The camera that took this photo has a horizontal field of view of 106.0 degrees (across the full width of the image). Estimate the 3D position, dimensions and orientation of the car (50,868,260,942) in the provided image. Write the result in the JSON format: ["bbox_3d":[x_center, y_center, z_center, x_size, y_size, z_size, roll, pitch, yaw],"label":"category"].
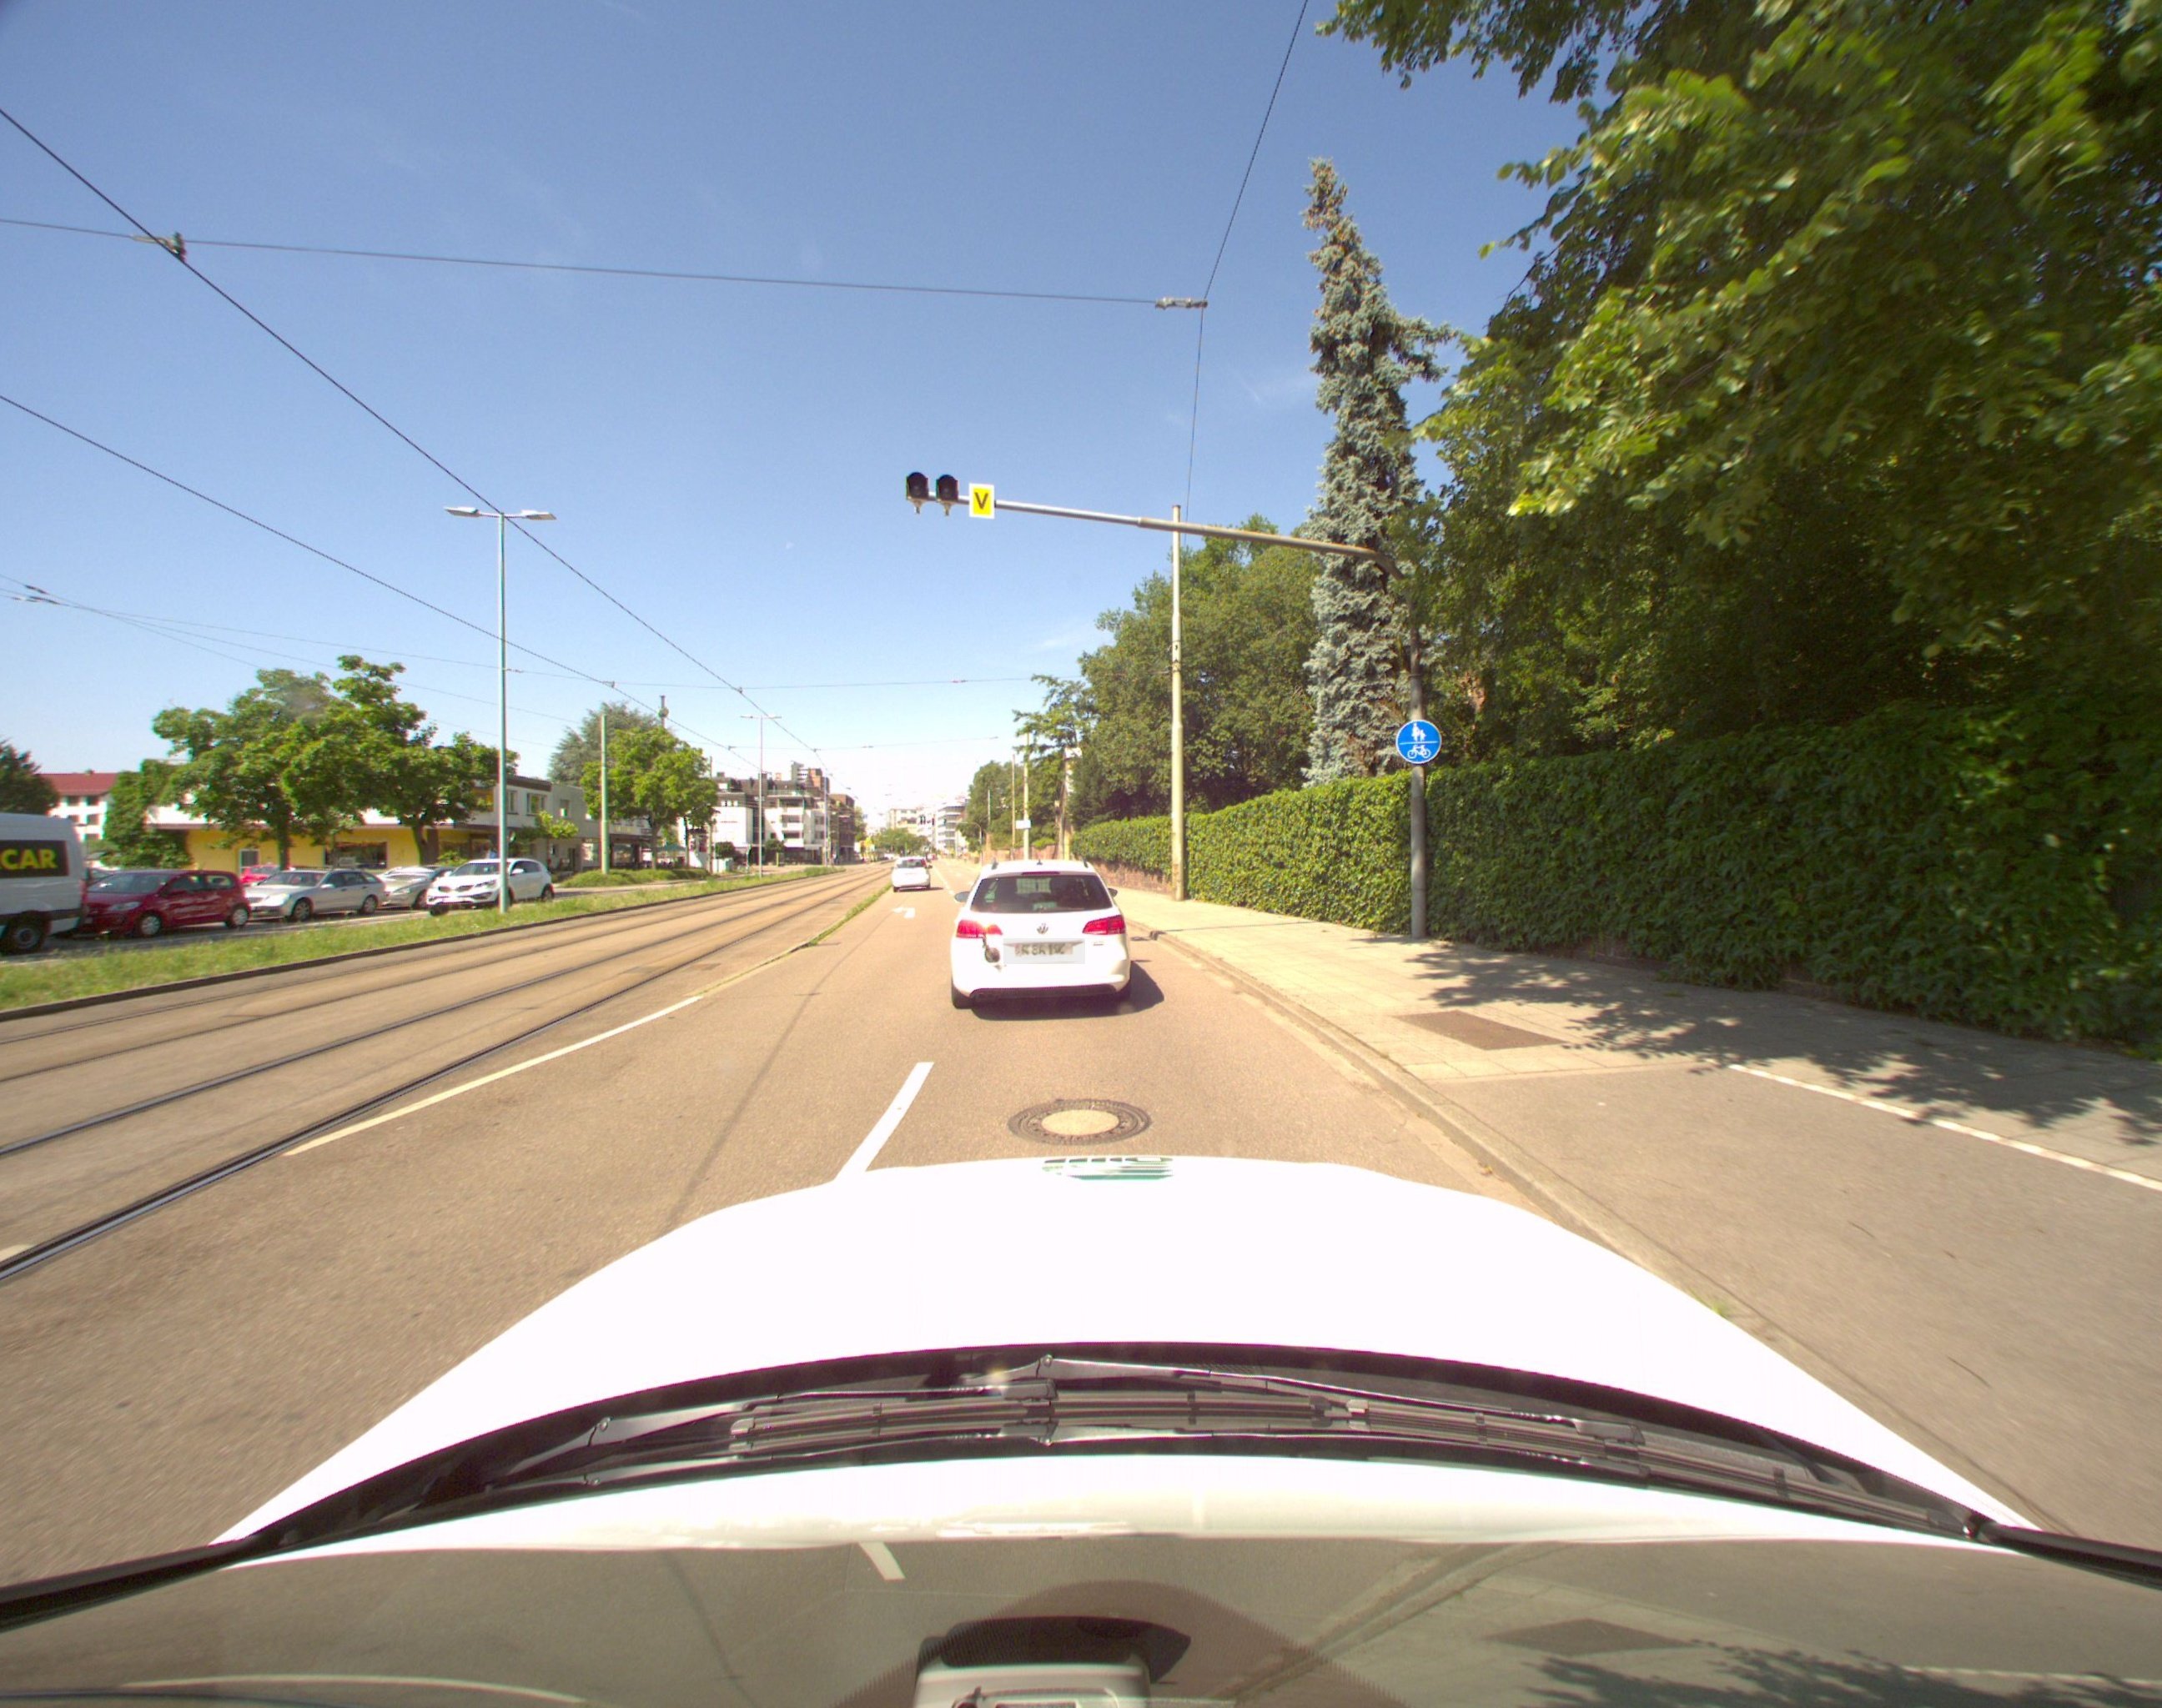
[{"bbox_3d":[-21.408,1.099,19.042,1.293,1.490,3.661,-1,0,-12],"label":"car"}]

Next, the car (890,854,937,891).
[{"bbox_3d":[-7.766,0.809,37.989,1.728,1.596,4.002,-1,0,-6],"label":"car"}]

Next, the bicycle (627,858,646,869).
[{"bbox_3d":[-39.756,0.832,72.878,0.783,0.888,2.382,-1,0,-10],"label":"bicycle"}]

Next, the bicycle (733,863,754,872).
[{"bbox_3d":[-37.599,1.519,90.803,0.546,0.921,2.191,-1,0,33],"label":"bicycle"}]

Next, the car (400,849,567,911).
[{"bbox_3d":[-17.759,0.689,24.552,2.042,1.597,4.646,-2,1,-9],"label":"car"}]

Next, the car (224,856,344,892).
[{"bbox_3d":[-41.216,1.005,42.196,4.148,1.735,1.691,-1,0,-11],"label":"car"}]

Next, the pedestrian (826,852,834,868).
[{"bbox_3d":[-28.940,0.680,93.958,0.828,1.738,0.926,-1,0,-19],"label":"pedestrian"}]

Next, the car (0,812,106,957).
[{"bbox_3d":[-20.429,0.540,13.436,2.196,2.630,5.958,1,0,-10],"label":"car"}]

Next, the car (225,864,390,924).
[{"bbox_3d":[-22.341,1.094,23.759,1.292,1.490,4.335,1,0,-11],"label":"car"}]

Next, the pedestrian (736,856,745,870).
[{"bbox_3d":[-38.084,0.994,91.099,0.559,1.487,0.821,-1,0,33],"label":"pedestrian"}]

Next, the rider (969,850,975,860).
[{"bbox_3d":[-19.016,0.182,142.363,0.891,1.728,2.196,-1,0,-10],"label":"rider"}]

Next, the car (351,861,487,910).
[{"bbox_3d":[-23.286,1.053,28.896,1.604,1.490,4.603,1,0,-9],"label":"car"}]

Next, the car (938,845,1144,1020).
[{"bbox_3d":[-0.438,0.678,9.053,1.775,1.490,3.842,-1,0,-3],"label":"car"}]
